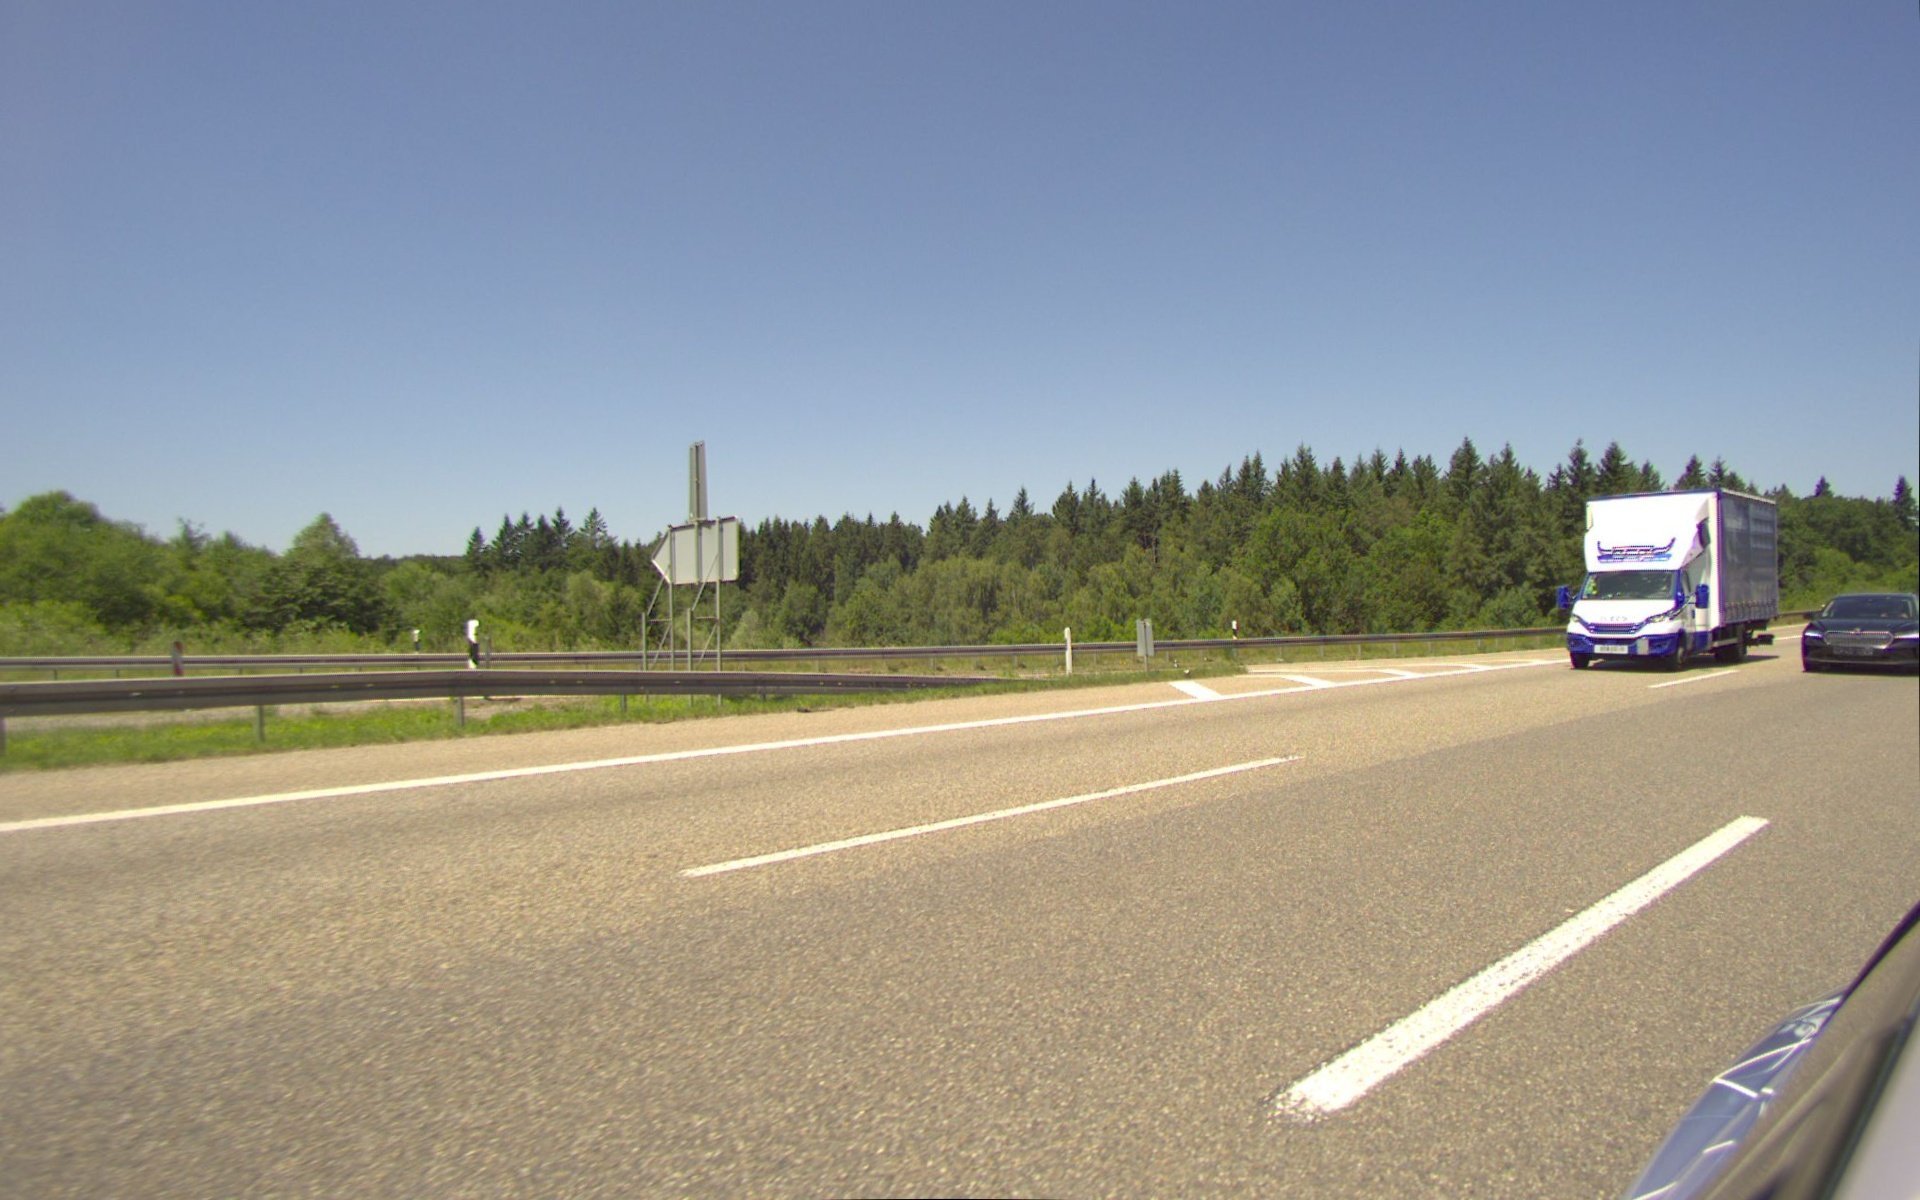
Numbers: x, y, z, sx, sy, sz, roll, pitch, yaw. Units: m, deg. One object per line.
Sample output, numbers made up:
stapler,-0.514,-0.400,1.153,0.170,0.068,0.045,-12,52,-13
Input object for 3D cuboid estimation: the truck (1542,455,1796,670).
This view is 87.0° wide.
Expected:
truck,17.017,-0.813,23.918,9.575,4.180,2.786,-2,0,-42

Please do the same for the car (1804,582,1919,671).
car,19.042,0.498,20.743,4.379,1.639,1.988,0,0,-41
